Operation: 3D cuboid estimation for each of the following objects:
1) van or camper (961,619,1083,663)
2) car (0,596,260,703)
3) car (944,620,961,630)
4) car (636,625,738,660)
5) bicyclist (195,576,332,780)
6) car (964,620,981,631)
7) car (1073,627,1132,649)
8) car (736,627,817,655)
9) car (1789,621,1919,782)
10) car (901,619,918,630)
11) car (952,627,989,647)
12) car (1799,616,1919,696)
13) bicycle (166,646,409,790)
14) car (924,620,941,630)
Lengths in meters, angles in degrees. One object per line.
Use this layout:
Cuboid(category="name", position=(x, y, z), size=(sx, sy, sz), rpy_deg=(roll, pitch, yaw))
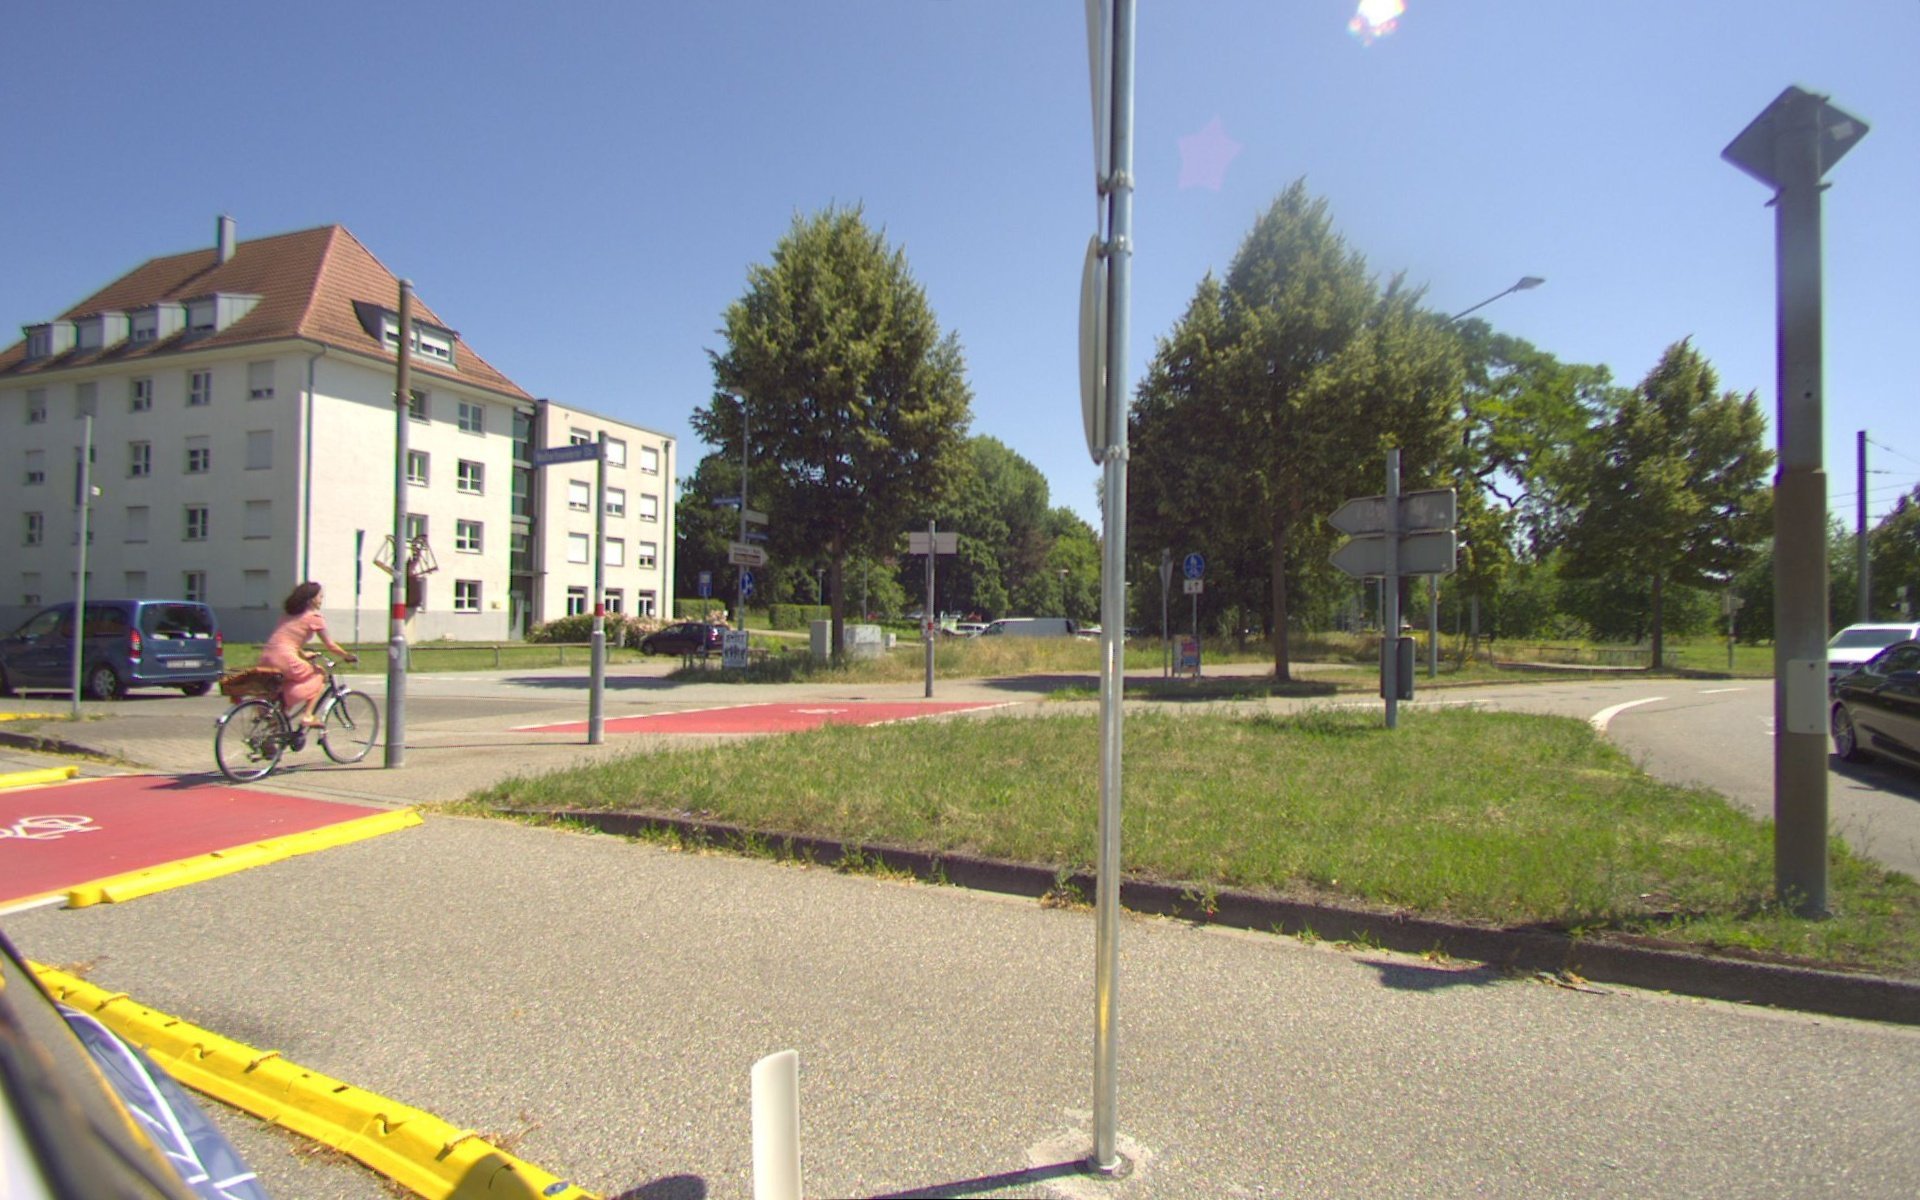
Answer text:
Cuboid(category="van or camper", position=(2.830, 1.841, 46.096), size=(5.235, 1.871, 1.986), rpy_deg=(0, -2, 21))
Cuboid(category="car", position=(-15.084, 0.883, 18.195), size=(4.160, 1.783, 1.683), rpy_deg=(0, -3, 11))
Cuboid(category="car", position=(-1.040, 3.417, 137.705), size=(1.466, 1.427, 3.011), rpy_deg=(0, -2, 16))
Cuboid(category="car", position=(-11.070, 1.710, 41.012), size=(3.782, 1.337, 1.647), rpy_deg=(0, -2, 22))
Cuboid(category="bicyclist", position=(-5.999, 0.643, 8.746), size=(0.639, 1.676, 0.707), rpy_deg=(1, -1, 11))
Cuboid(category="car", position=(1.697, 3.416, 136.698), size=(1.466, 1.427, 3.011), rpy_deg=(0, -2, 16))
Cuboid(category="car", position=(8.724, 2.325, 61.990), size=(3.368, 1.291, 1.343), rpy_deg=(0, -2, 29))
Cuboid(category="car", position=(-8.435, 1.882, 46.467), size=(3.490, 1.227, 1.347), rpy_deg=(0, -2, 22))
Cuboid(category="car", position=(9.722, 0.924, 9.325), size=(1.846, 1.447, 4.917), rpy_deg=(0, -2, 23))
Cuboid(category="car", position=(-6.947, 3.388, 138.881), size=(1.466, 1.427, 3.011), rpy_deg=(0, -2, 16))
Cuboid(category="car", position=(0.755, 2.663, 72.550), size=(2.517, 1.368, 1.073), rpy_deg=(0, -2, 28))
Cuboid(category="car", position=(21.309, 1.250, 23.239), size=(4.527, 1.661, 1.811), rpy_deg=(1, -3, -33))
Cuboid(category="bicycle", position=(-5.926, 0.983, 9.092), size=(0.435, 1.066, 2.080), rpy_deg=(1, -1, 12))
Cuboid(category="car", position=(-3.719, 3.406, 138.847), size=(1.466, 1.427, 3.011), rpy_deg=(0, -2, 16))
